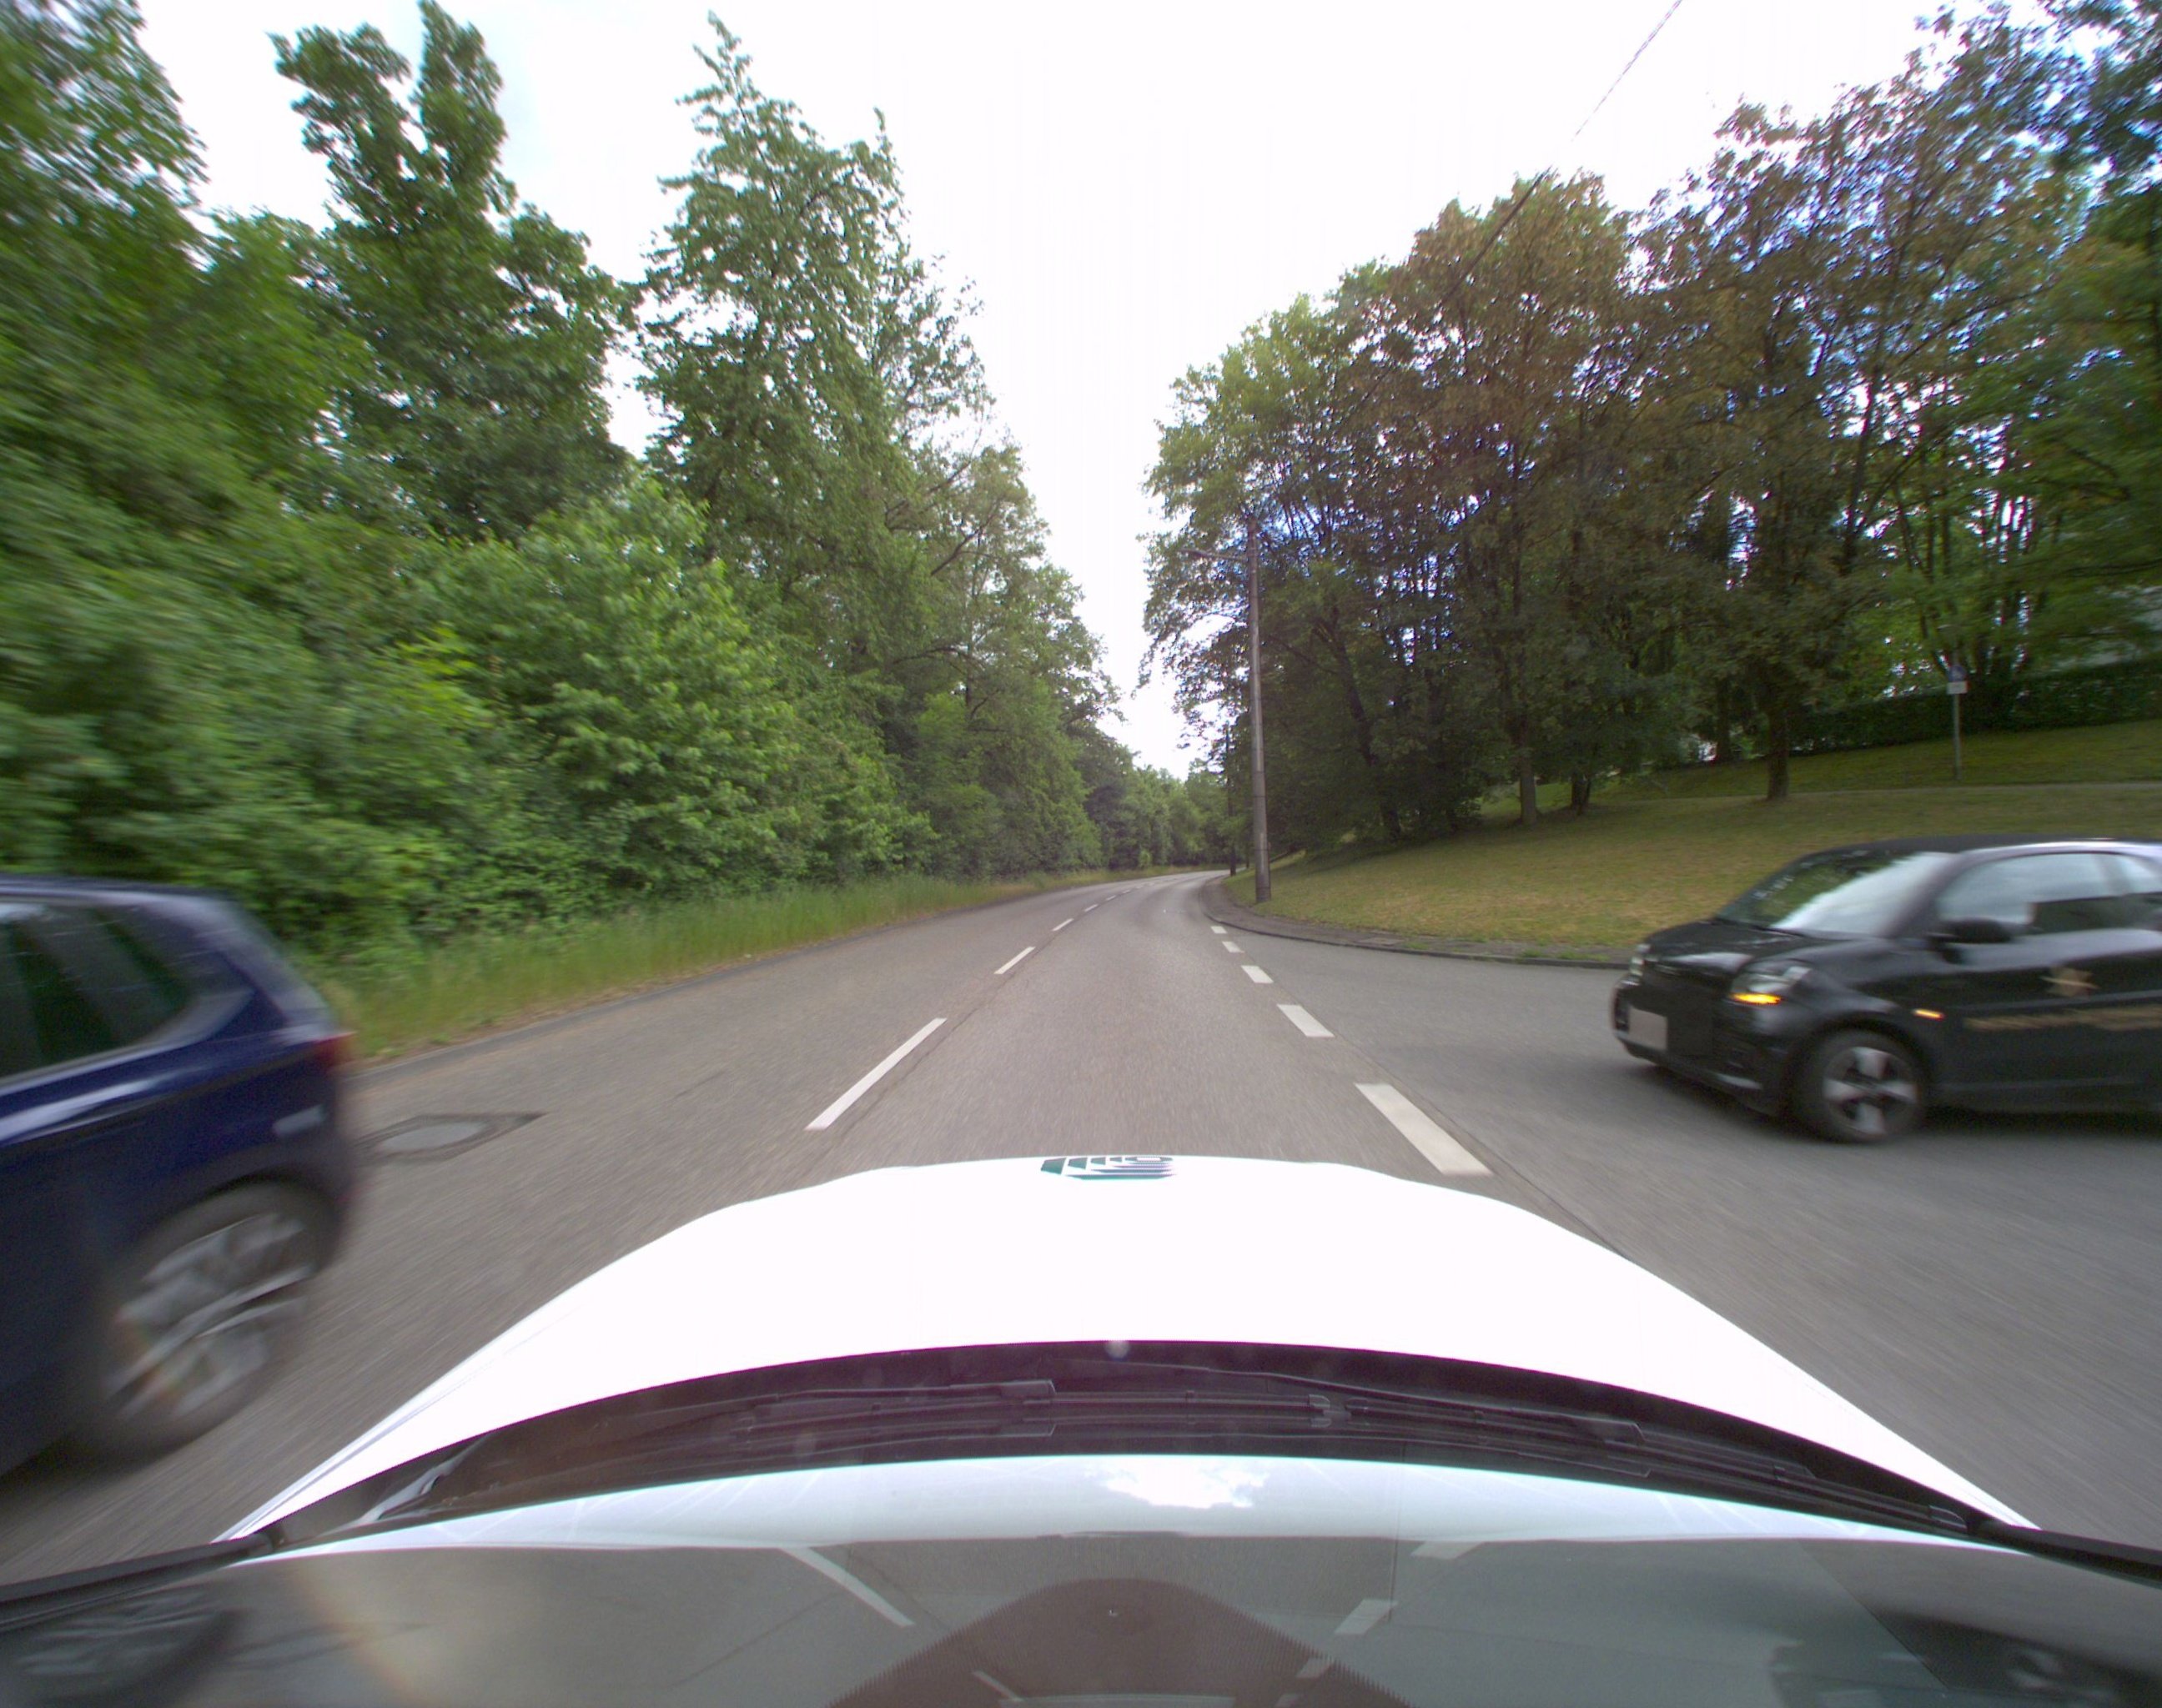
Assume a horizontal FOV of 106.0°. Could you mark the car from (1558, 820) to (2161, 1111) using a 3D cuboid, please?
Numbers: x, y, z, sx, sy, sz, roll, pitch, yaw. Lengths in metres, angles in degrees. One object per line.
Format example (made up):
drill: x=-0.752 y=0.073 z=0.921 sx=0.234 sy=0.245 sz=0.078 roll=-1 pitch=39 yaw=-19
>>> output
car: x=5.194 y=0.609 z=5.190 sx=3.287 sy=1.495 sz=1.671 roll=-3 pitch=-1 yaw=6

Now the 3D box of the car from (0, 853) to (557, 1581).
car: x=-3.132 y=0.757 z=1.166 sx=1.784 sy=1.515 sz=4.836 roll=-1 pitch=-2 yaw=-3
